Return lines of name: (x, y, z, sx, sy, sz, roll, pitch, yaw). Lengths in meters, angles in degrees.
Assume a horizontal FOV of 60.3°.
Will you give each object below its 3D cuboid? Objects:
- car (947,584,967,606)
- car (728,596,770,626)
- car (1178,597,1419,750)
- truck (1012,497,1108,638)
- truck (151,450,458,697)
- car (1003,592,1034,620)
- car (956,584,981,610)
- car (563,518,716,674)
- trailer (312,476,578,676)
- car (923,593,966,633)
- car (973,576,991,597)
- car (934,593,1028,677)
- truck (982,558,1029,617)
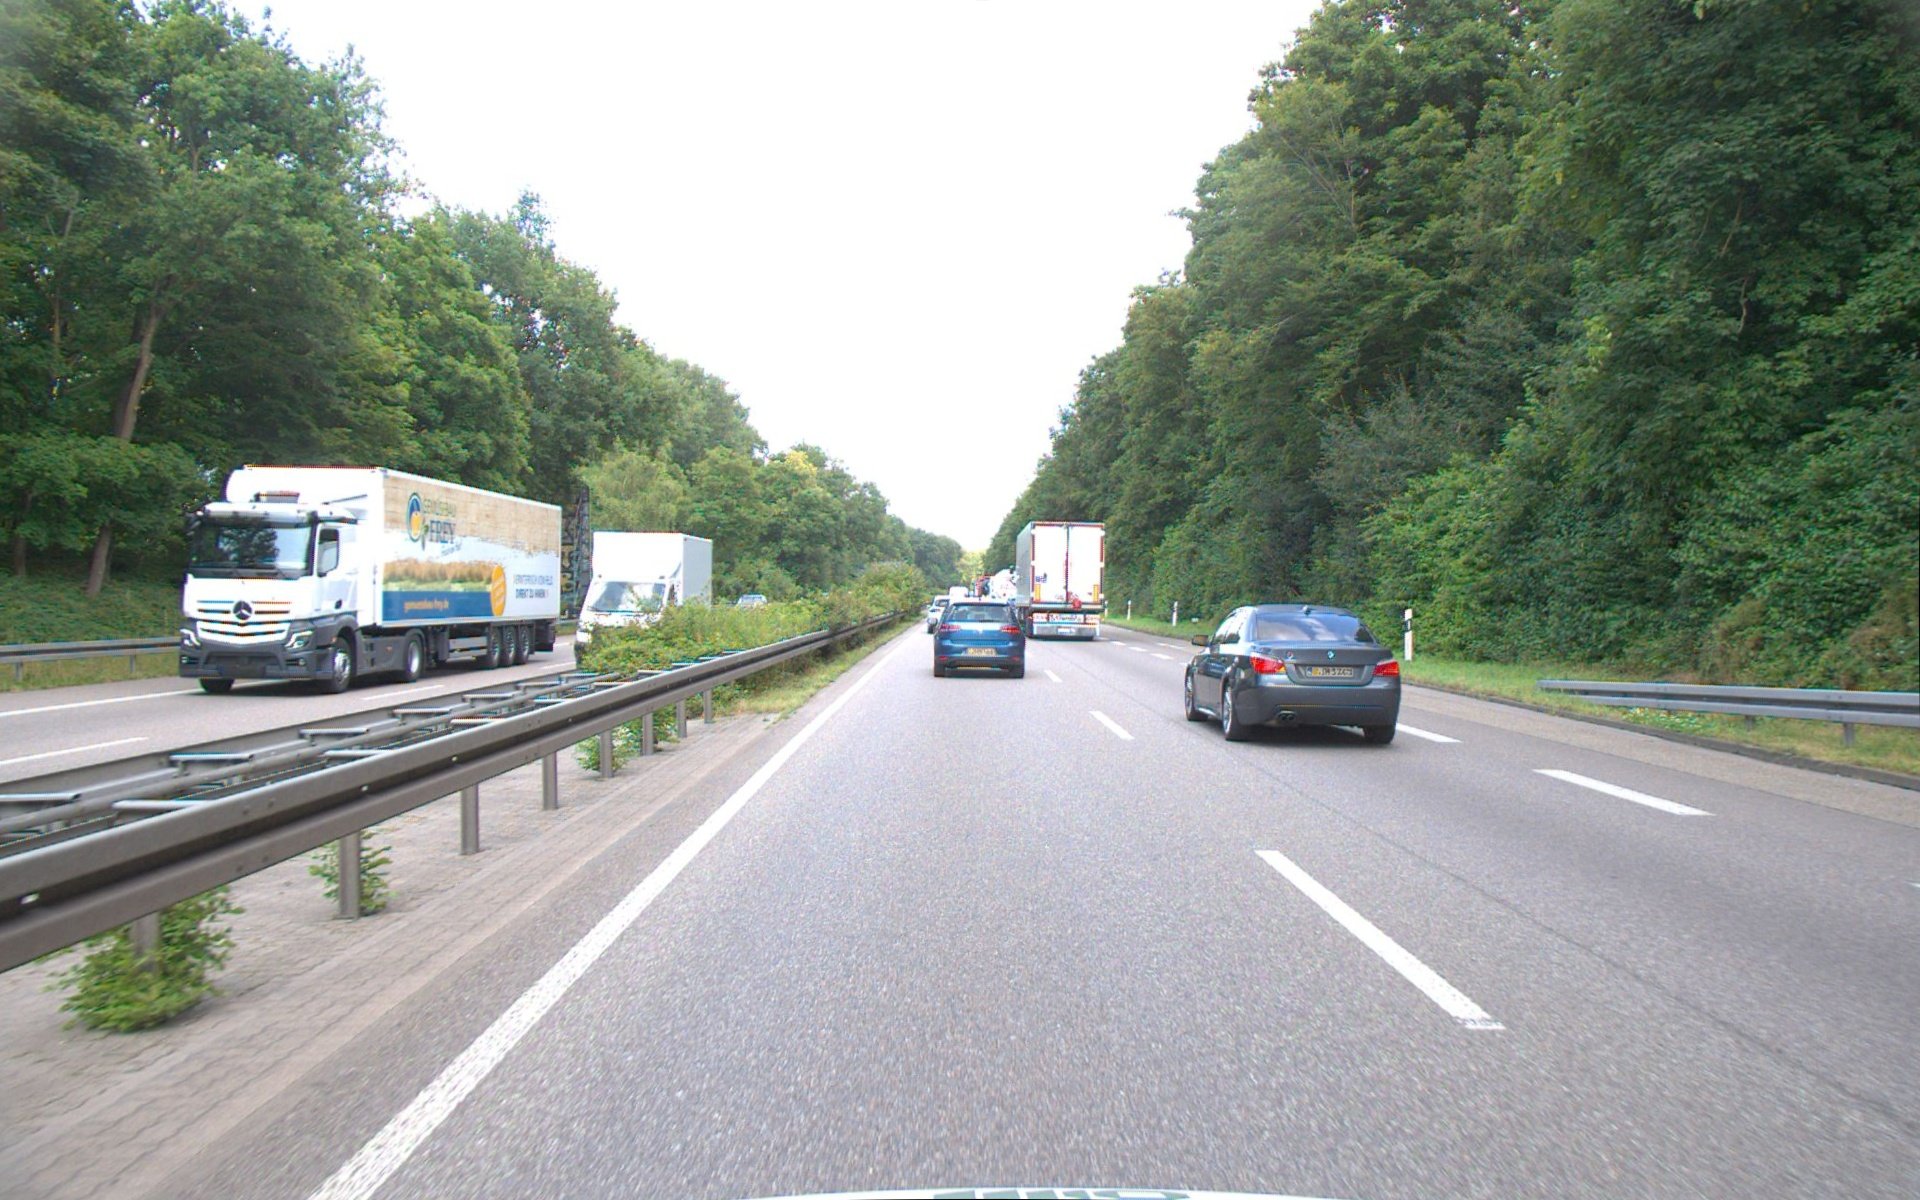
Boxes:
car: (-0.343, -0.550, 176.462, 1.953, 2.294, 4.440, -1, 0, -3)
car: (-12.105, 0.610, 95.009, 1.790, 1.690, 4.594, 1, 0, 0)
car: (3.726, 0.731, 19.080, 1.738, 1.501, 4.880, 1, 0, 0)
truck: (3.585, -1.158, 62.048, 3.175, 4.798, 11.009, 0, 0, 1)
truck: (-11.877, -0.452, 30.764, 2.978, 4.056, 6.748, 0, 0, 0)
car: (3.748, 0.353, 106.379, 1.850, 1.759, 4.000, -1, 0, 0)
car: (0.658, -0.216, 133.655, 1.914, 2.049, 3.999, -1, 0, -1)
car: (-7.333, -0.100, 38.732, 2.242, 3.289, 7.285, -1, 0, -1)
trailer: (-11.786, -0.463, 39.136, 2.996, 4.113, 9.974, 1, 0, 1)
car: (-0.588, 0.483, 65.788, 1.631, 1.526, 4.152, 1, 0, 0)
car: (2.610, -1.576, 196.035, 1.953, 2.368, 4.440, 0, 0, -3)
car: (0.368, 0.628, 31.918, 1.670, 1.495, 3.999, 1, 0, -1)
truck: (3.566, -0.939, 132.904, 3.166, 4.463, 12.967, 1, 0, -1)
